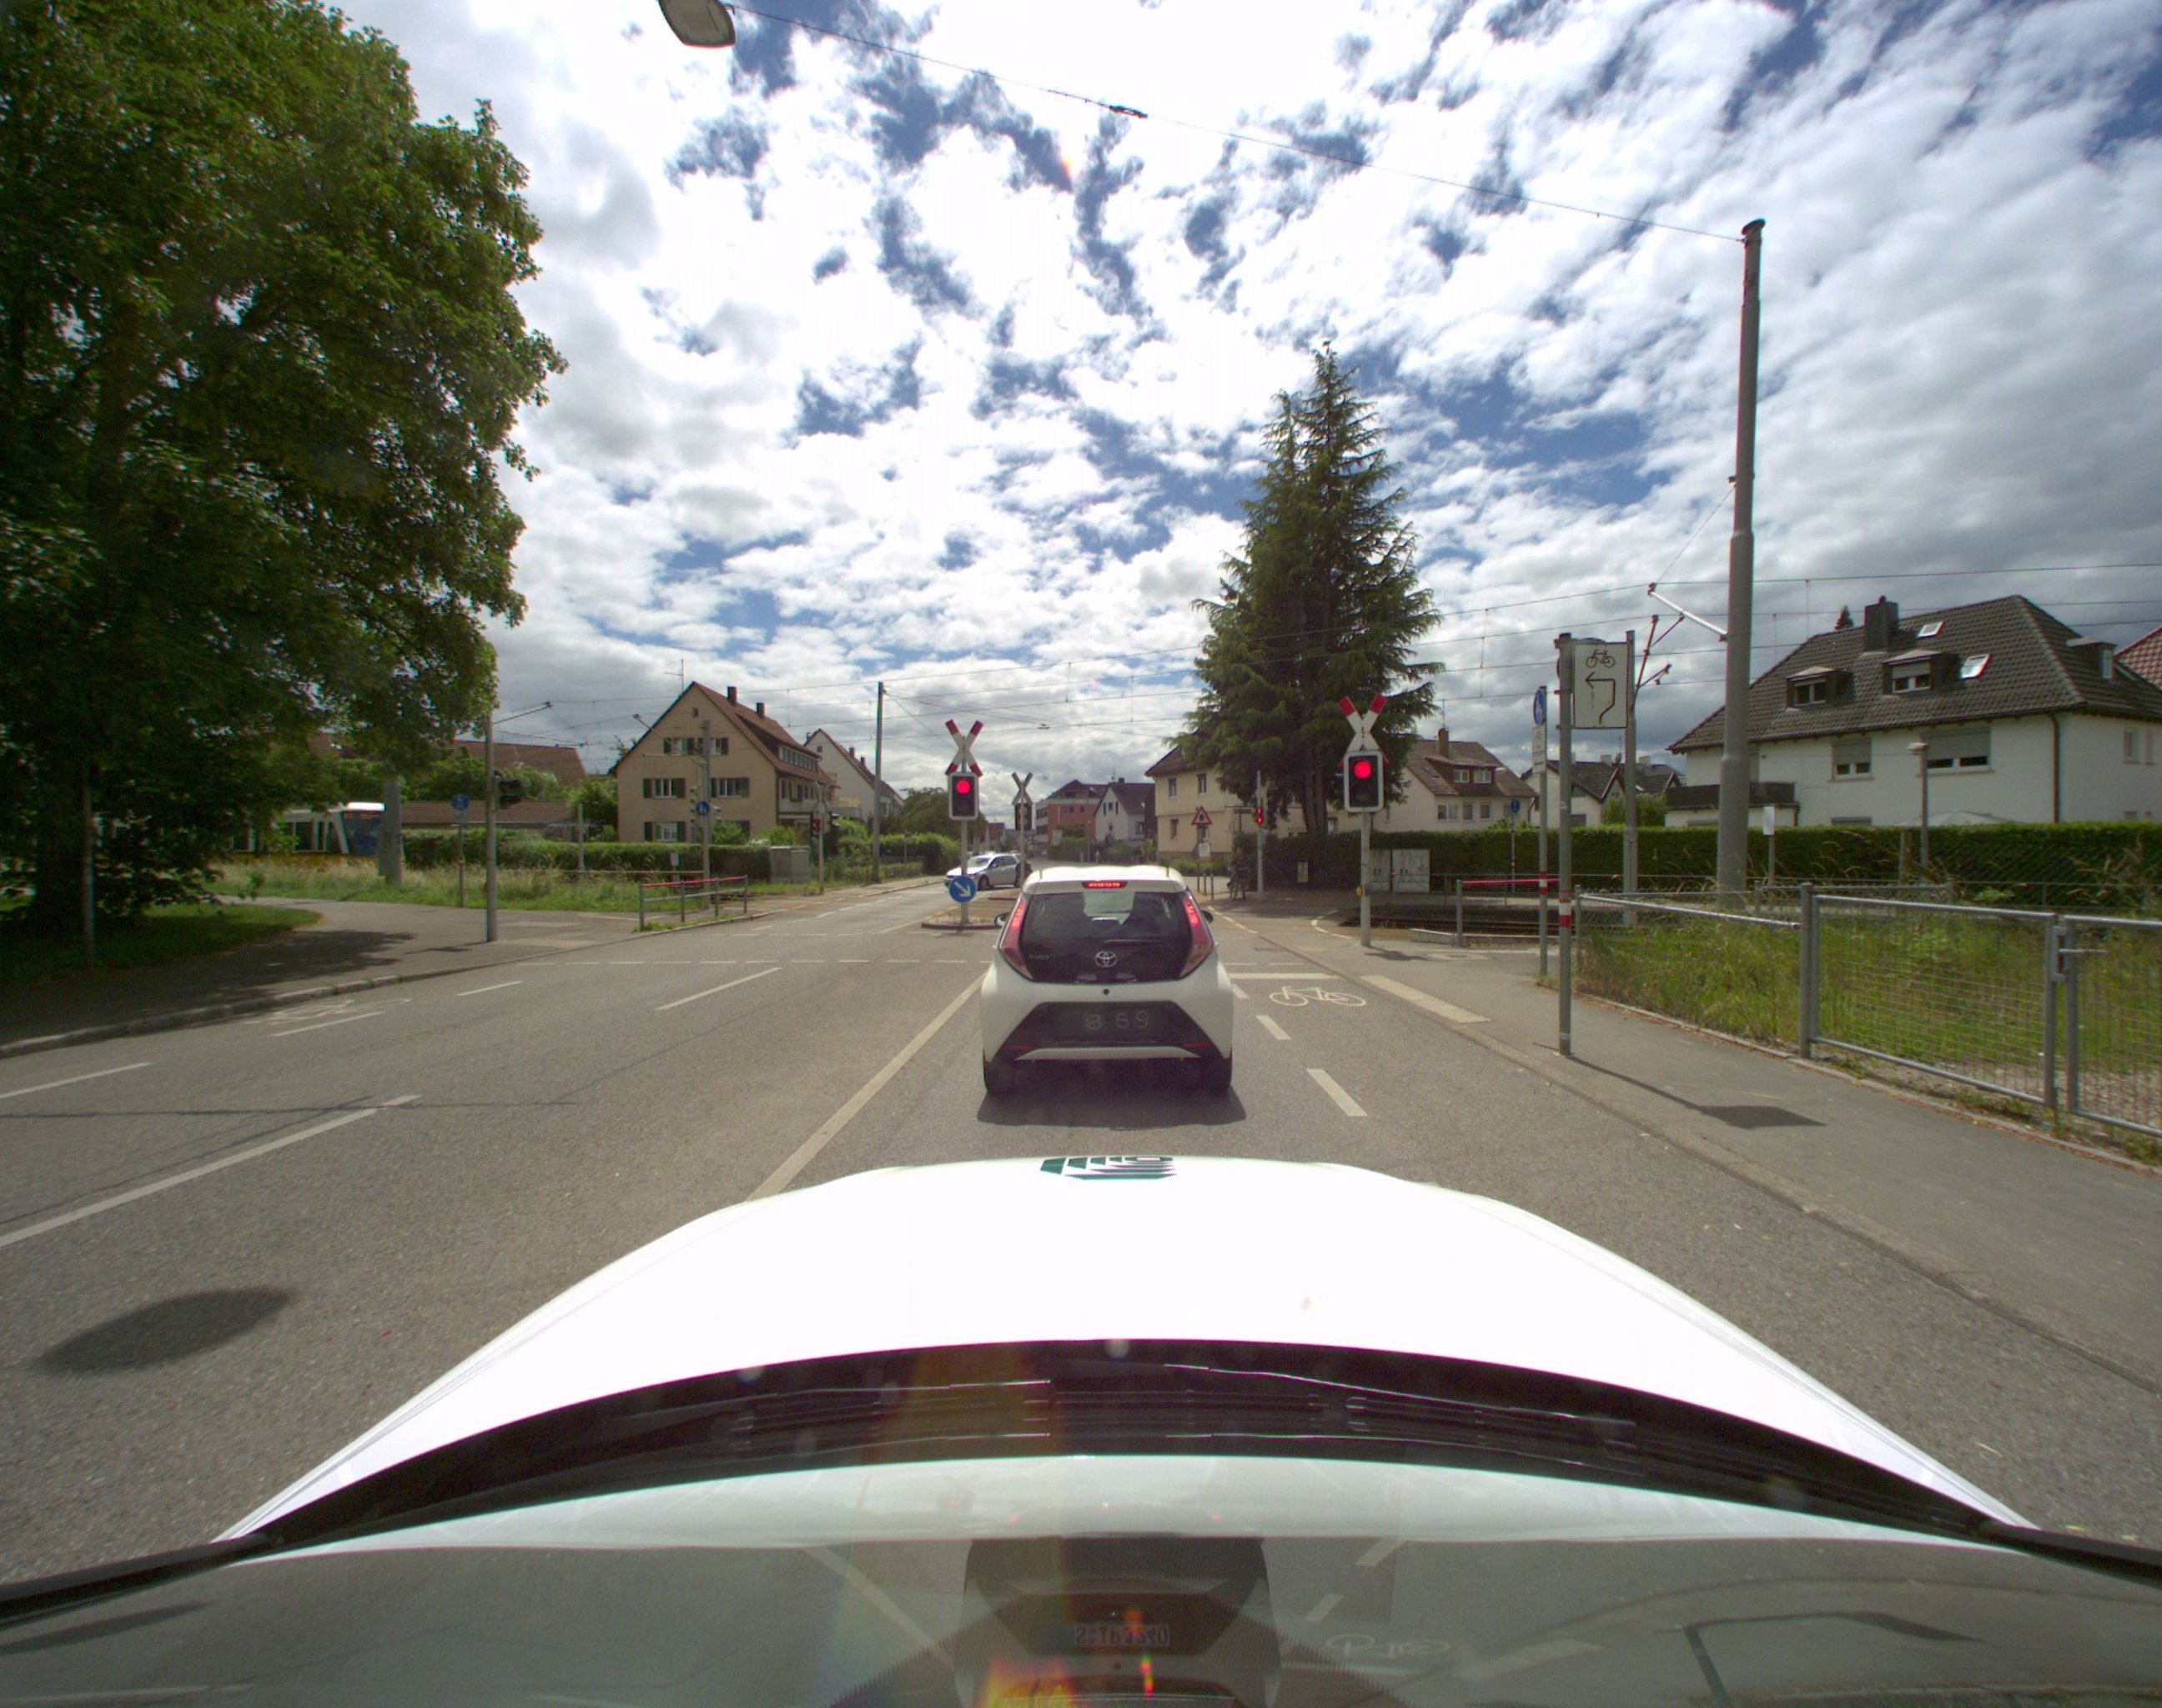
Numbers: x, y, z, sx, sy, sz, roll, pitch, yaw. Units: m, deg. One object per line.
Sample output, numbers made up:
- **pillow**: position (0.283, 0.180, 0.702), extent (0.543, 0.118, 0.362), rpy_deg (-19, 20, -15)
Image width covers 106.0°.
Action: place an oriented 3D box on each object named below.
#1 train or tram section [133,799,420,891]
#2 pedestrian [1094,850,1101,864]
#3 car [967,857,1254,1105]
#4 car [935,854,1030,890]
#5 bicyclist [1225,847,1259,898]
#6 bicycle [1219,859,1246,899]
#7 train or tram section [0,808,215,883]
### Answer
- **train or tram section**: position (-37.899, -0.411, 37.912), extent (18.885, 3.704, 2.936), rpy_deg (0, 1, 24)
- **pedestrian**: position (1.877, 0.316, 92.923), extent (0.723, 1.576, 0.804), rpy_deg (0, 0, 2)
- **car**: position (0.137, 0.764, 6.740), extent (1.716, 1.442, 3.706), rpy_deg (0, 0, -2)
- **car**: position (-4.132, 0.729, 34.784), extent (1.887, 1.441, 4.124), rpy_deg (0, 0, 30)
- **bicyclist**: position (5.188, 0.571, 26.213), extent (0.839, 1.553, 0.755), rpy_deg (-3, 2, -4)
- **bicycle**: position (4.864, 0.782, 26.182), extent (0.456, 1.172, 1.477), rpy_deg (-3, 2, -4)
- **train or tram section**: position (-55.089, -0.460, 45.700), extent (18.885, 3.704, 2.936), rpy_deg (0, 1, 24)
